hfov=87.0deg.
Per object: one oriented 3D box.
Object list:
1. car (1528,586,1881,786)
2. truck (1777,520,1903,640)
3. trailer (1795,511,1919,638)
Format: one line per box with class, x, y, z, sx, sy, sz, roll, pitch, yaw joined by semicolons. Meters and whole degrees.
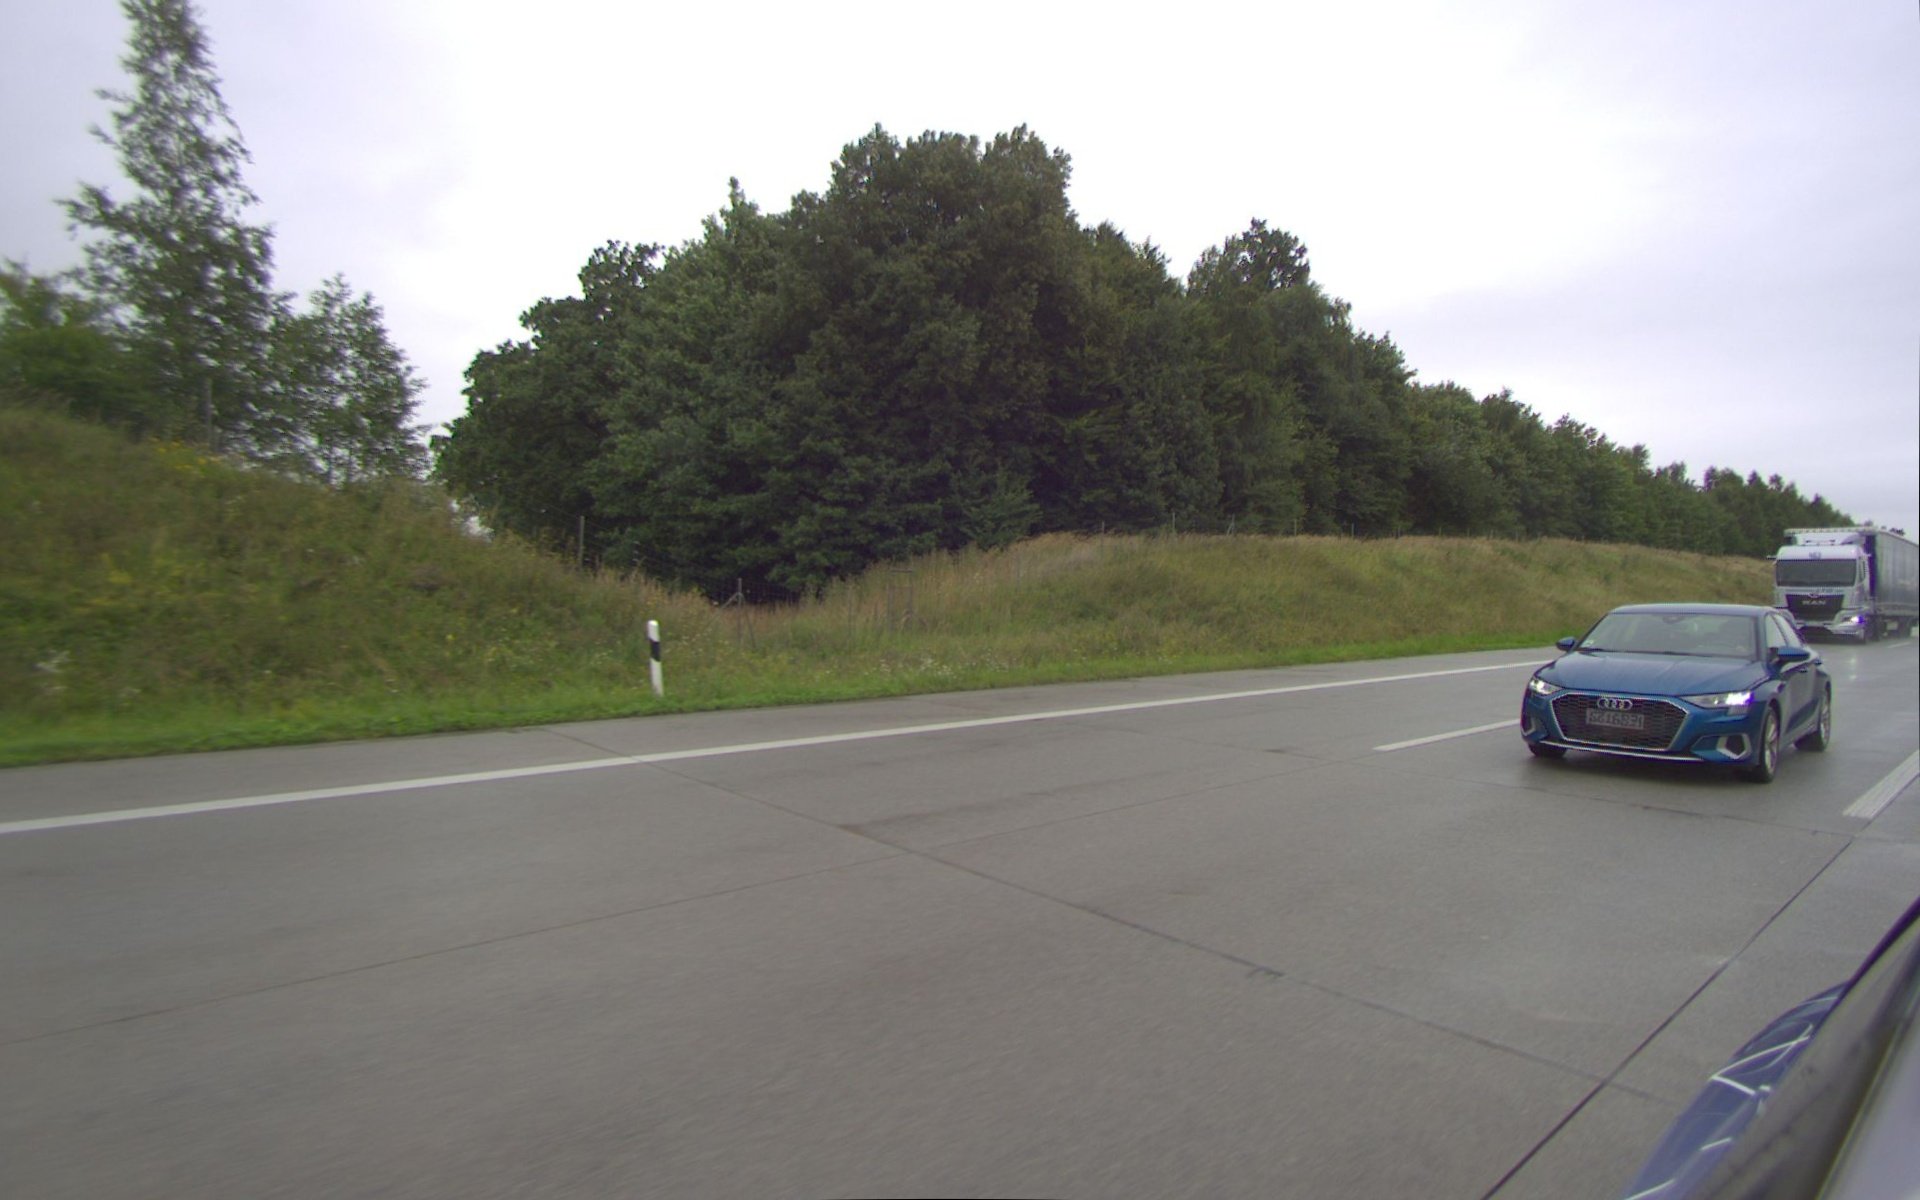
car;7.309;0.628;9.738;4.590;1.477;1.733;0;1;-41
truck;31.821;-0.649;36.546;5.585;4.005;2.641;1;-1;-40
trailer;37.606;-0.822;41.488;14.936;4.435;2.711;1;-1;-41
